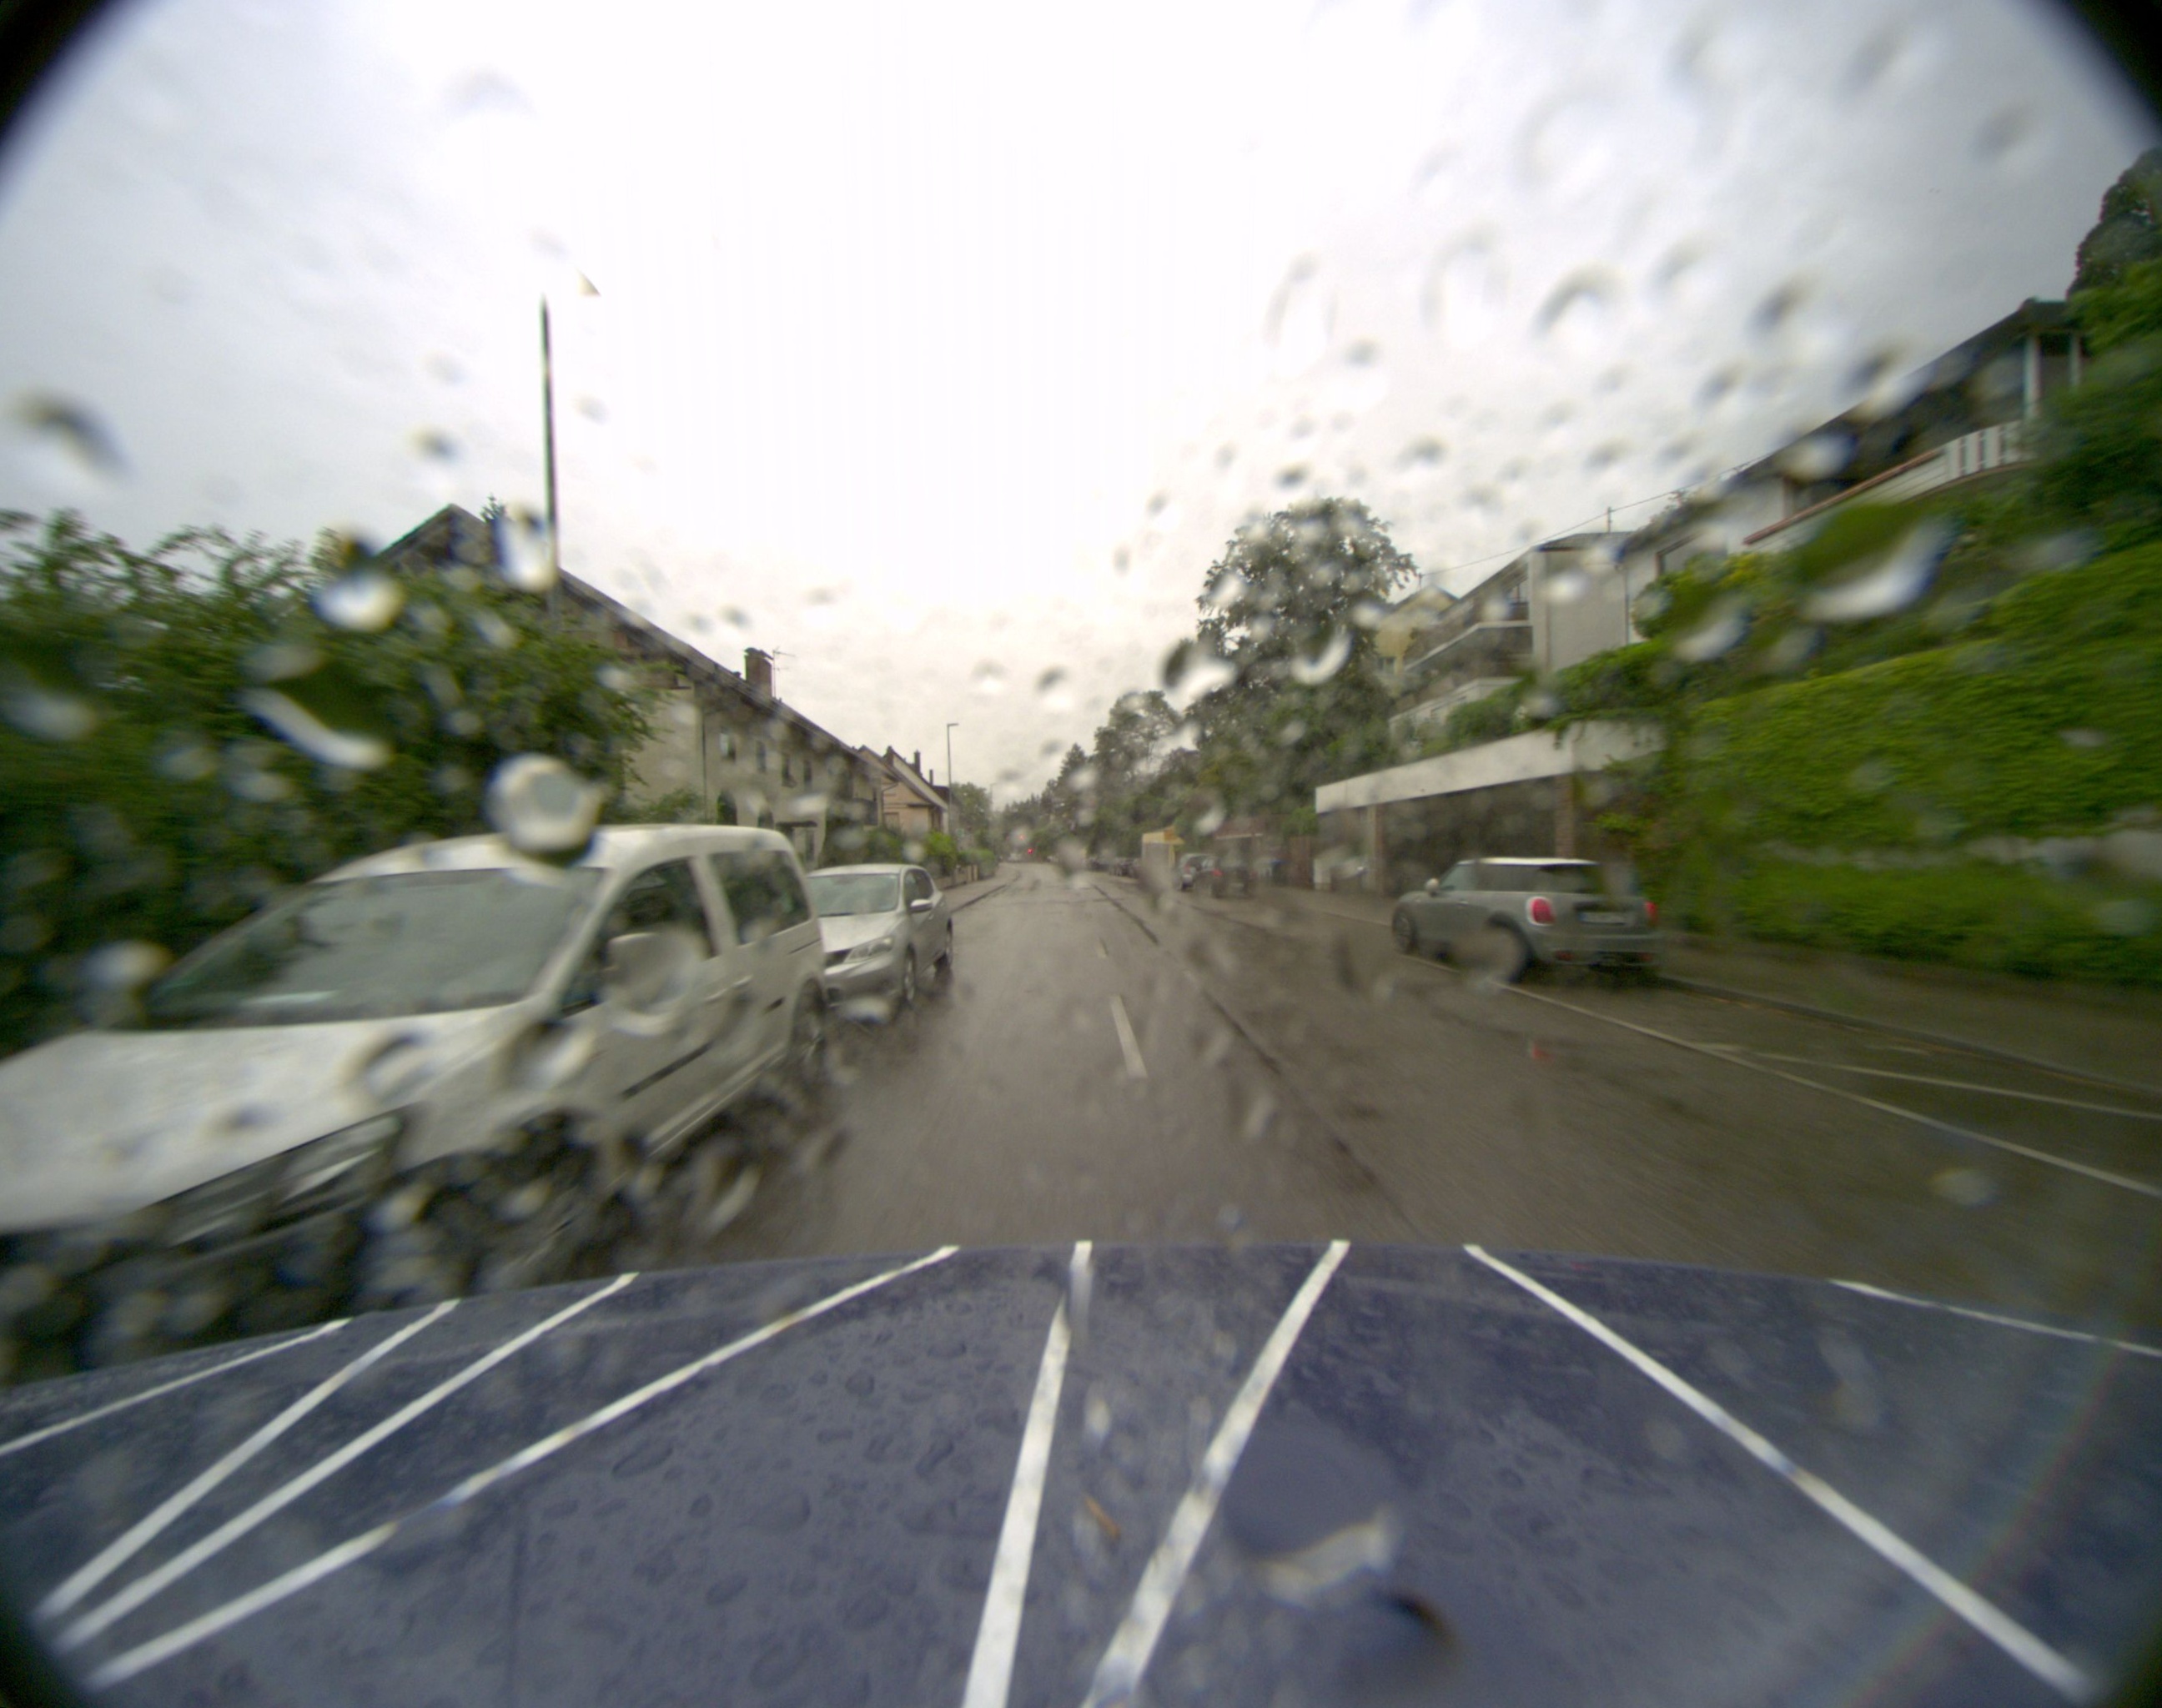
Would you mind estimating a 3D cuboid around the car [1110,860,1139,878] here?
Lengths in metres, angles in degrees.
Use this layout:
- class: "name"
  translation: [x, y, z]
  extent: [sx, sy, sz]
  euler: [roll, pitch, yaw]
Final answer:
- class: "car"
  translation: [3.716, 1.257, 65.549]
  extent: [1.791, 1.446, 4.753]
  euler: [1, 0, -5]

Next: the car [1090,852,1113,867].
- class: "car"
  translation: [2.218, 0.602, 83.240]
  extent: [1.880, 1.616, 4.591]
  euler: [2, 0, -5]

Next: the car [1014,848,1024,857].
- class: "car"
  translation: [-17.393, -0.404, 213.733]
  extent: [2.087, 2.464, 4.848]
  euler: [2, 0, -11]

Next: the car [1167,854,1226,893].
- class: "car"
  translation: [4.921, 0.821, 32.794]
  extent: [1.761, 1.530, 3.755]
  euler: [2, 0, -3]

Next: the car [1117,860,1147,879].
- class: "car"
  translation: [3.962, 1.206, 59.419]
  extent: [1.791, 1.407, 4.216]
  euler: [0, 0, -4]

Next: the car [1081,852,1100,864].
- class: "car"
  translation: [1.130, 0.522, 92.986]
  extent: [1.722, 1.357, 4.081]
  euler: [1, -1, -8]

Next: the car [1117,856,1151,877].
- class: "car"
  translation: [3.655, 0.852, 52.809]
  extent: [1.813, 1.341, 3.774]
  euler: [0, 0, -4]

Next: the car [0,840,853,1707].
- class: "car"
  translation: [-2.699, 0.867, 3.612]
  extent: [1.789, 1.780, 4.361]
  euler: [-1, 1, 1]

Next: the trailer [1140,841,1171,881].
- class: "trailer"
  translation: [4.629, 0.417, 47.576]
  extent: [1.540, 2.385, 3.072]
  euler: [1, 0, 0]

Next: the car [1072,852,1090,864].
- class: "car"
  translation: [-0.024, 0.520, 104.357]
  extent: [1.914, 1.472, 4.752]
  euler: [2, 0, -5]

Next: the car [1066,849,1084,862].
- class: "car"
  translation: [-0.913, 0.223, 114.596]
  extent: [2.165, 1.908, 5.319]
  euler: [0, 1, -6]

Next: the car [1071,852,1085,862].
- class: "car"
  translation: [-0.470, 0.475, 109.411]
  extent: [1.569, 1.357, 3.904]
  euler: [1, 0, -8]

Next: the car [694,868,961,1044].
- class: "car"
  translation: [-2.648, 0.968, 9.078]
  extent: [1.794, 1.451, 4.307]
  euler: [-1, 1, -1]

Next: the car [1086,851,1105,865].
- class: "car"
  translation: [1.684, 0.485, 88.329]
  extent: [1.747, 1.552, 4.107]
  euler: [1, 0, -4]

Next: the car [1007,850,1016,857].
- class: "car"
  translation: [-21.080, -0.084, 230.976]
  extent: [2.164, 1.944, 4.911]
  euler: [2, 0, -11]

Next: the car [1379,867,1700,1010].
- class: "car"
  translation: [5.548, 0.917, 9.845]
  extent: [1.760, 1.394, 3.769]
  euler: [1, 0, -2]

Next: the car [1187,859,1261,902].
- class: "car"
  translation: [5.077, 0.893, 27.410]
  extent: [1.761, 1.401, 3.704]
  euler: [2, 0, -3]
